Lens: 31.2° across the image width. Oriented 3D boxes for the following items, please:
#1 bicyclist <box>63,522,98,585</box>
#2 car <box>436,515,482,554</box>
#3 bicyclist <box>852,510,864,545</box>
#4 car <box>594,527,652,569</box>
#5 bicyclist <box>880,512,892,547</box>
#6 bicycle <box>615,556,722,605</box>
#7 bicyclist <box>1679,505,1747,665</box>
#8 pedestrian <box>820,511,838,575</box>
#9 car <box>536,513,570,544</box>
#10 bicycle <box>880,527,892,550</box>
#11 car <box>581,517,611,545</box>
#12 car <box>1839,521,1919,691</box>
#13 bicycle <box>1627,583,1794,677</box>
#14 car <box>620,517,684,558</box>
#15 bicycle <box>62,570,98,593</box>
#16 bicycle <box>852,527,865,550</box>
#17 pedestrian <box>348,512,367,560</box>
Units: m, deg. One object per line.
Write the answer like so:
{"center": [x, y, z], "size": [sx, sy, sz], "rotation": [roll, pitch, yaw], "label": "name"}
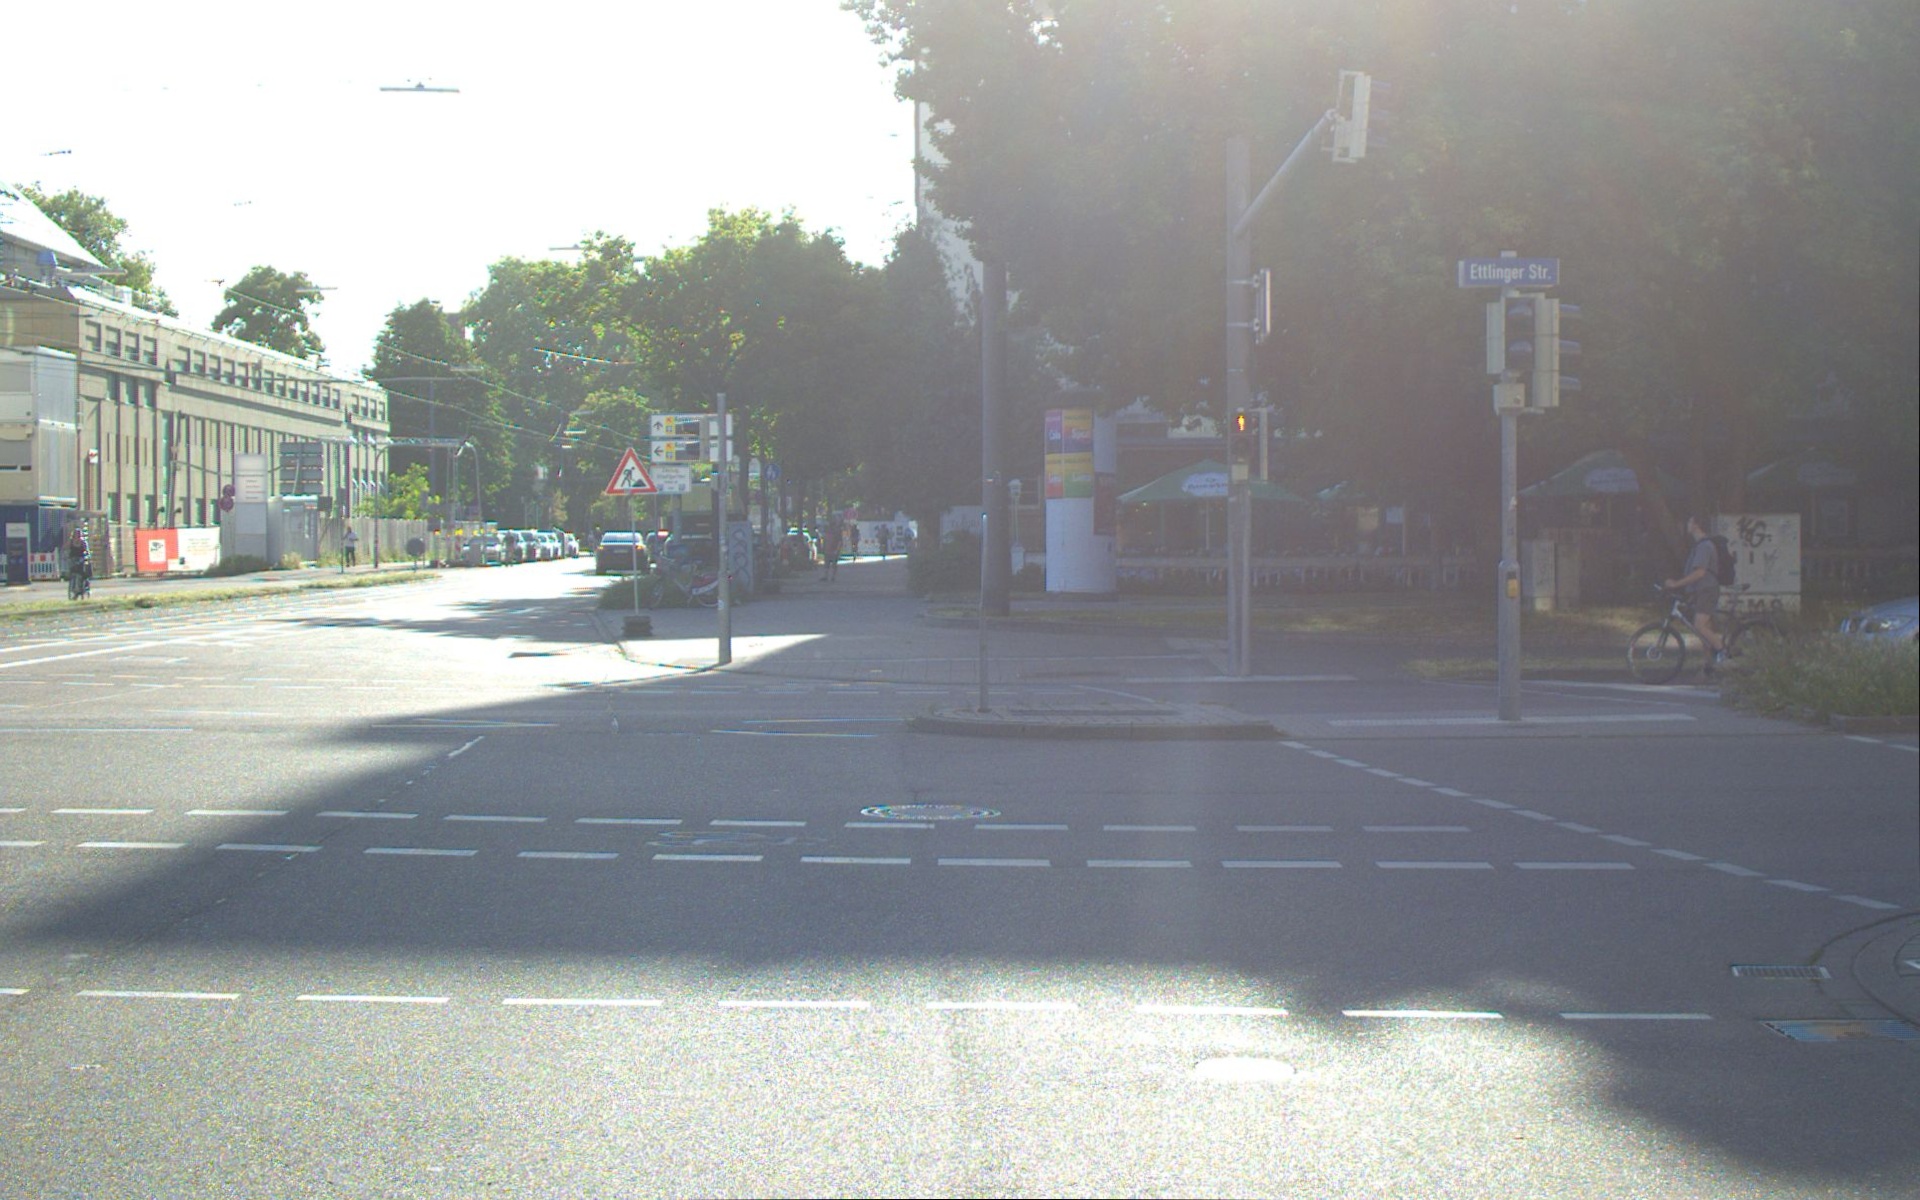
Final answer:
{"center": [-19.395, -1.031, 75.792], "size": [0.596, 1.372, 0.638], "rotation": [1, 0, -1], "label": "bicyclist"}
{"center": [-22.780, -2.972, 156.447], "size": [1.692, 1.712, 4.248], "rotation": [1, 1, -4], "label": "car"}
{"center": [-4.879, -3.480, 164.689], "size": [0.569, 1.685, 0.700], "rotation": [0, 1, -1], "label": "bicyclist"}
{"center": [-11.846, -1.833, 120.946], "size": [1.660, 1.450, 4.432], "rotation": [1, 1, -1], "label": "car"}
{"center": [-3.560, -3.396, 165.305], "size": [0.569, 1.685, 0.700], "rotation": [0, 1, -1], "label": "bicyclist"}
{"center": [-5.730, -0.385, 67.483], "size": [2.018, 0.888, 0.650], "rotation": [-2, 0, 27], "label": "bicycle"}
{"center": [7.947, -0.163, 36.296], "size": [0.643, 1.677, 0.507], "rotation": [0, 1, 5], "label": "bicyclist"}
{"center": [-3.724, -1.608, 97.686], "size": [0.463, 1.807, 0.503], "rotation": [0, 1, -5], "label": "pedestrian"}
{"center": [-23.021, -4.038, 194.693], "size": [1.692, 1.712, 4.248], "rotation": [1, 1, -4], "label": "car"}
{"center": [-3.560, -2.946, 165.329], "size": [0.575, 1.073, 1.831], "rotation": [0, 1, -1], "label": "bicycle"}
{"center": [-22.543, -4.275, 213.142], "size": [1.692, 1.712, 4.248], "rotation": [1, 1, -4], "label": "car"}
{"center": [10.756, 0.022, 33.415], "size": [3.993, 1.605, 1.650], "rotation": [-1, 1, -1], "label": "car"}
{"center": [7.916, 0.314, 36.305], "size": [1.667, 0.960, 0.533], "rotation": [0, 1, 5], "label": "bicycle"}
{"center": [-12.694, -2.593, 141.875], "size": [1.892, 1.560, 4.807], "rotation": [3, 1, 3], "label": "car"}
{"center": [-19.400, -0.411, 75.793], "size": [0.501, 0.513, 1.258], "rotation": [1, 1, -1], "label": "bicycle"}
{"center": [-4.870, -2.954, 164.731], "size": [0.575, 1.073, 1.831], "rotation": [0, 1, -1], "label": "bicycle"}
{"center": [-25.364, -2.692, 144.743], "size": [0.674, 2.007, 0.751], "rotation": [1, 0, -3], "label": "pedestrian"}
